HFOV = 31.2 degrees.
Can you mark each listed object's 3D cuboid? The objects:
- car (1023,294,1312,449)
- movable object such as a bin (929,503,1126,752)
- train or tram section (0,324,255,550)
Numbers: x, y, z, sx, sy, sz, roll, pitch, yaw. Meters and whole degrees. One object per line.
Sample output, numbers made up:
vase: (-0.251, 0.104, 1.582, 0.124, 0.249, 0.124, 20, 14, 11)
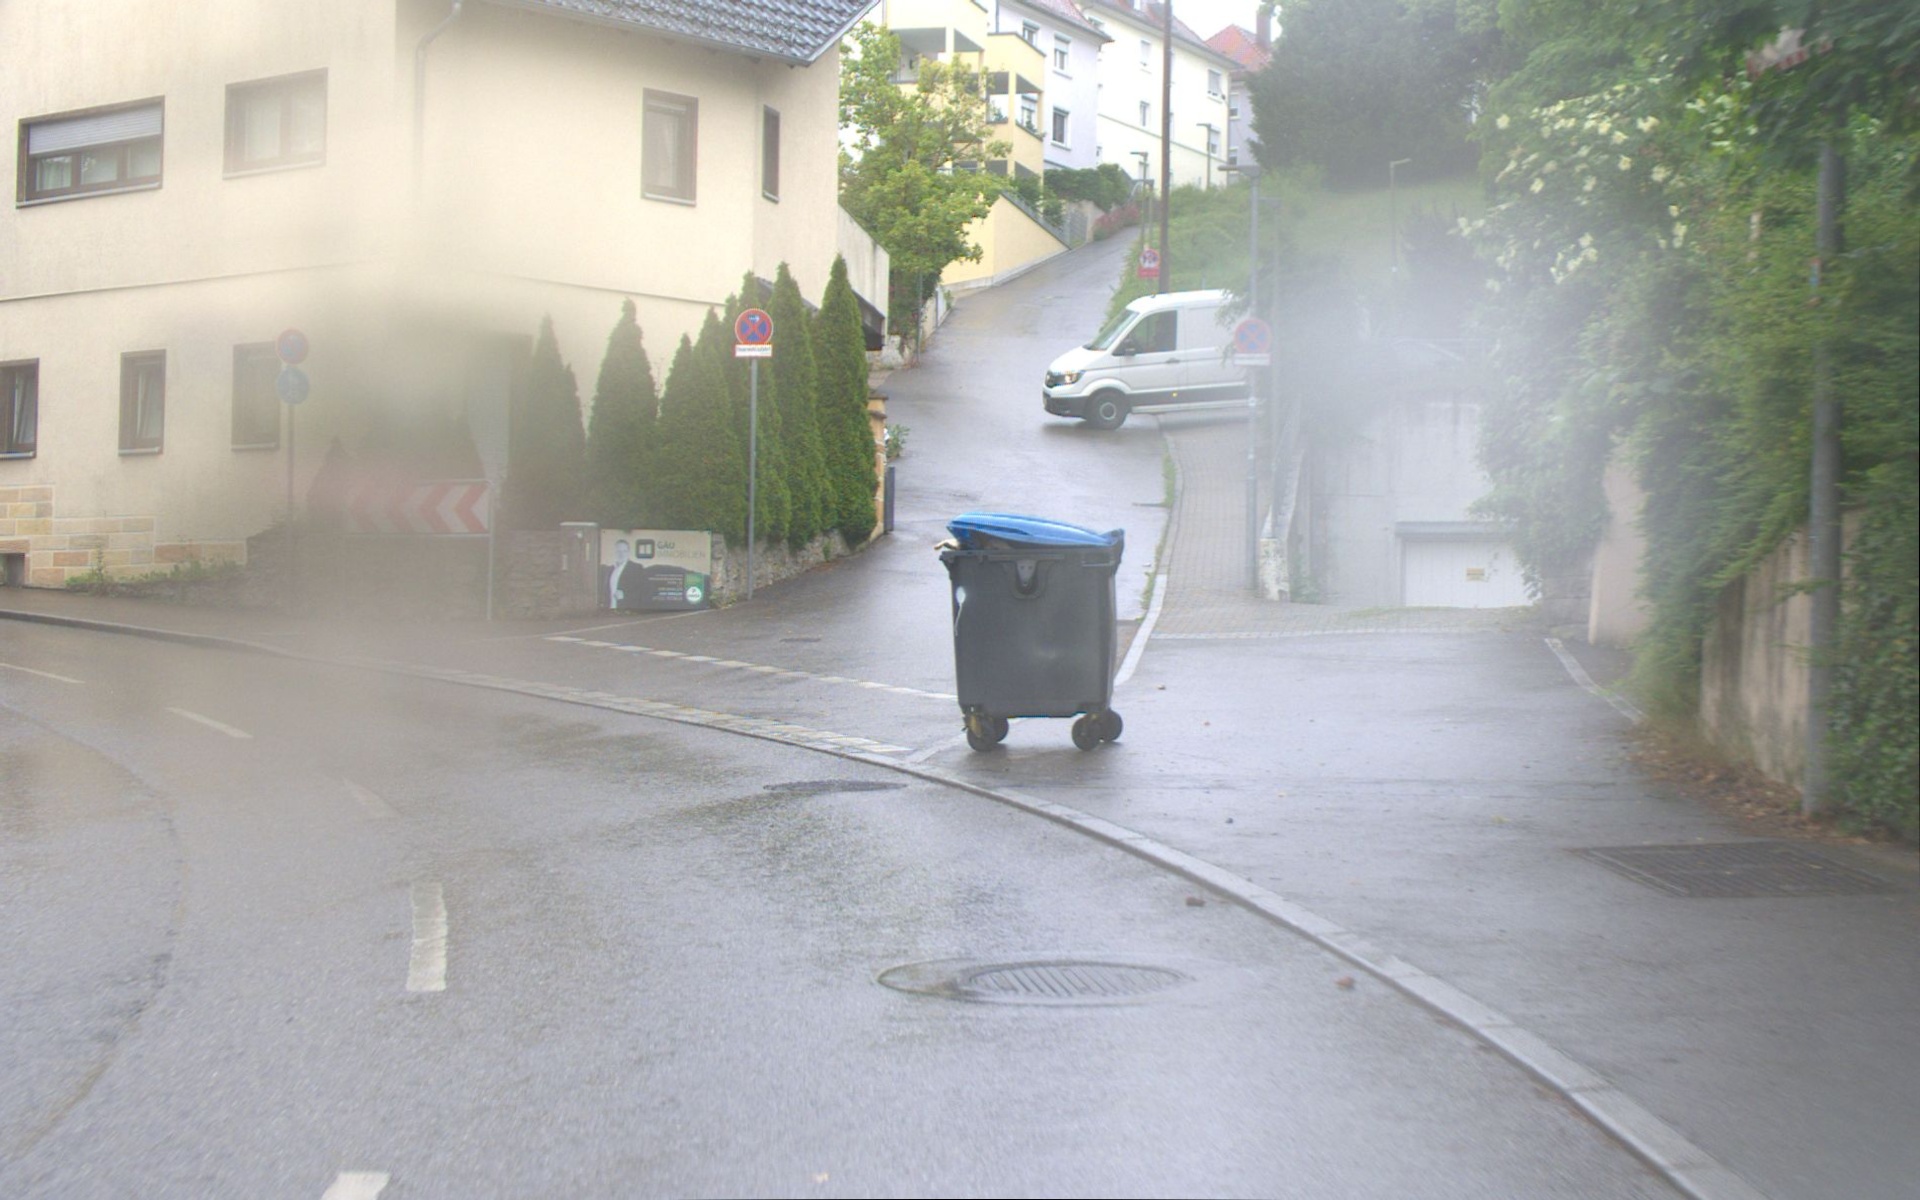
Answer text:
car: (3.700, -4.100, 61.892, 4.942, 2.560, 1.905, -2, 1, -2)
movable object such as a bin: (0.428, 0.144, 20.858, 1.082, 1.437, 1.457, 1, 1, 4)
train or tram section: (-13.734, -2.345, 50.283, 2.363, 3.192, 6.855, 1, 2, 37)
